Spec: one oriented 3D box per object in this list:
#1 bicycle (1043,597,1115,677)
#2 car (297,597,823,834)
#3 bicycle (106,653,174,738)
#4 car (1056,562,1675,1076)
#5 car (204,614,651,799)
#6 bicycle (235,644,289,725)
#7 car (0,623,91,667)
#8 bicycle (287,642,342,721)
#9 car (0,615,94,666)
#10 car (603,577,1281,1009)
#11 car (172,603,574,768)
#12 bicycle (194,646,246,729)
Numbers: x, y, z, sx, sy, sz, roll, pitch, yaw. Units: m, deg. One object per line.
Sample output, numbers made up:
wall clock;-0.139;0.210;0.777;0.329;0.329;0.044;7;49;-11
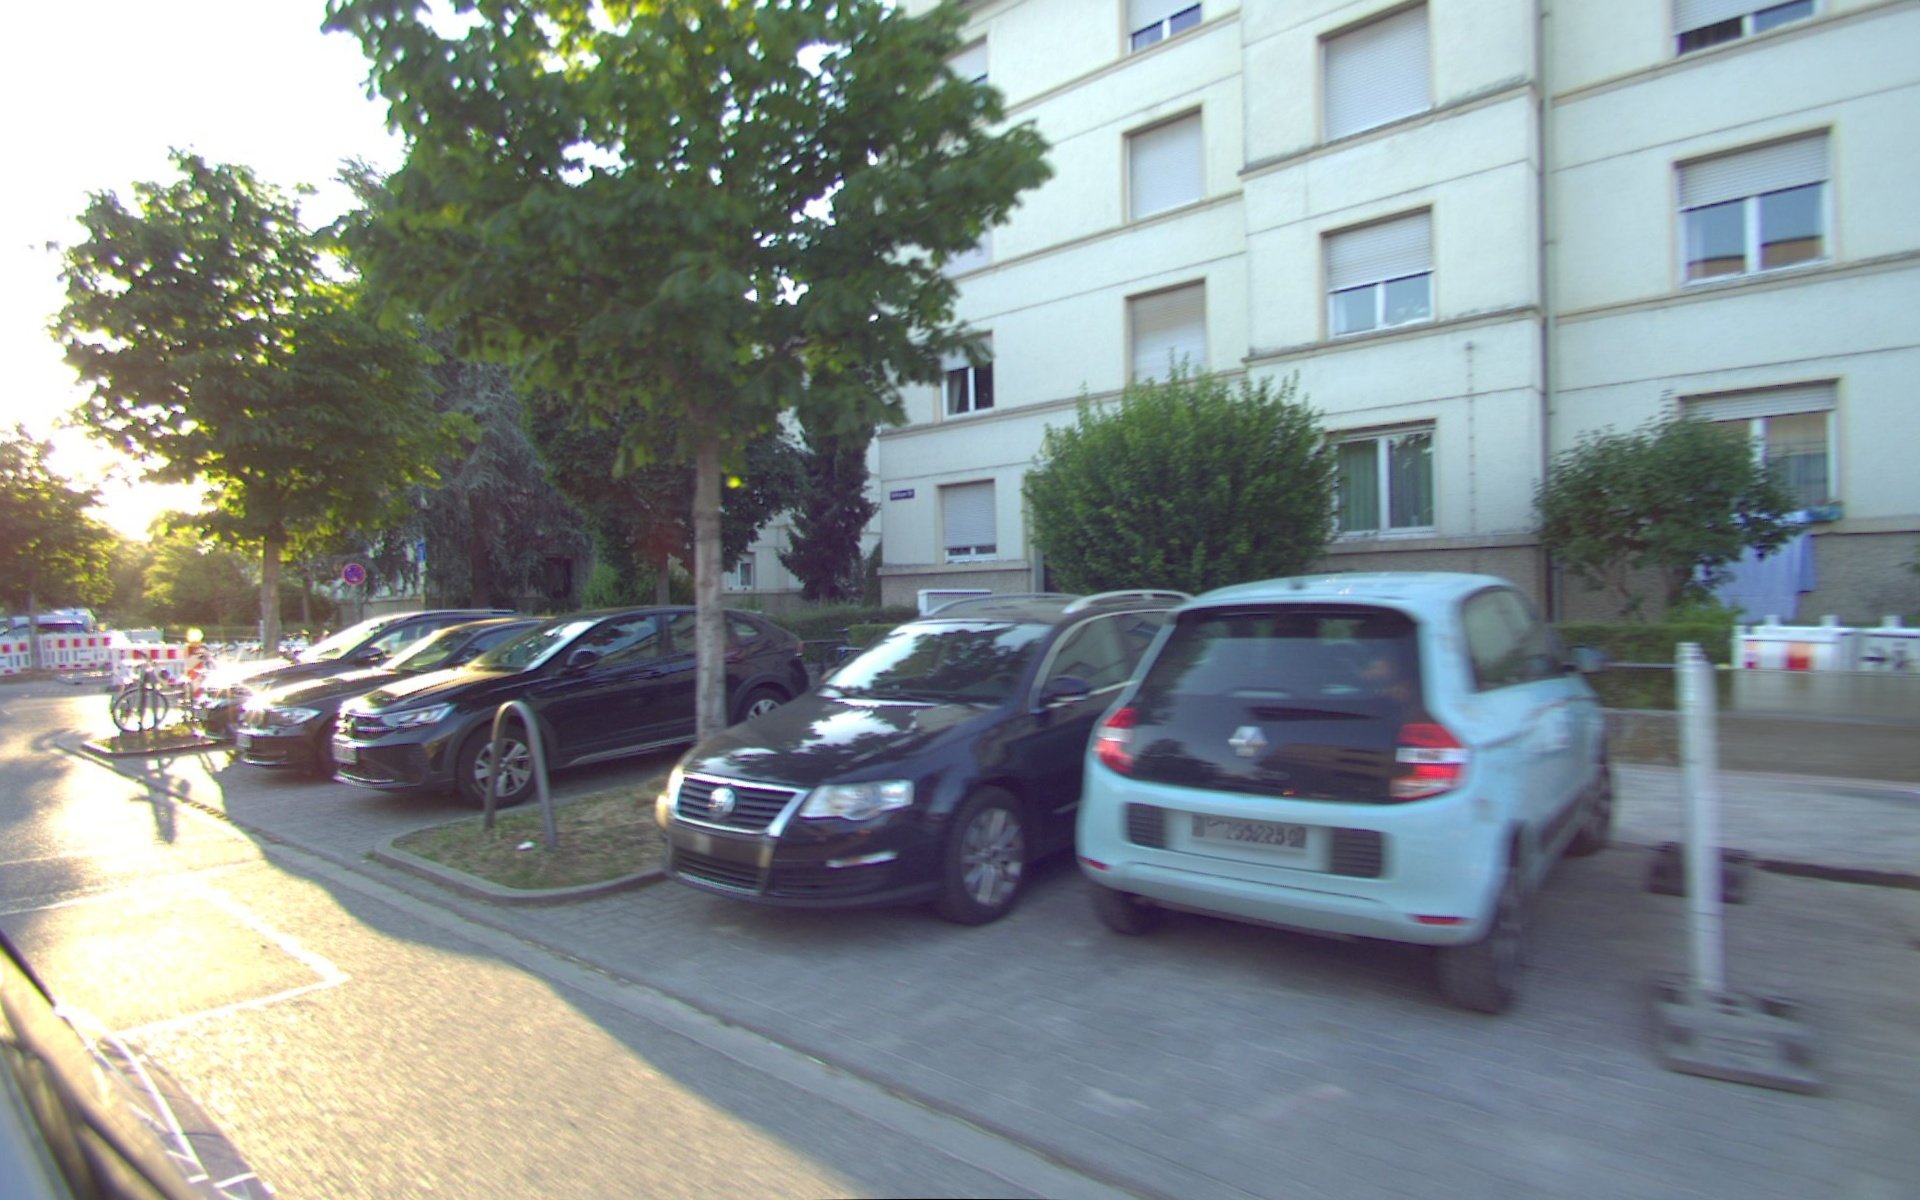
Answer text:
bicycle;2.114;0.625;17.814;0.441;1.328;1.875;-2;-1;33
car;-3.347;0.813;9.050;1.728;1.495;3.989;-2;1;42
bicycle;-11.614;1.324;14.317;1.628;1.104;0.442;-2;0;41
car;2.246;0.617;4.963;1.727;1.495;3.662;-2;1;40
car;-5.383;0.948;10.615;1.606;1.395;3.802;-2;1;41
bicycle;-10.687;1.268;15.475;1.525;1.167;0.276;-2;0;41
car;-38.767;1.867;41.922;2.001;1.696;4.074;-2;-1;45
bicycle;-10.138;1.250;15.868;1.525;1.167;0.276;-2;0;41
car;-40.583;1.754;43.686;2.001;2.085;4.720;-2;-1;45
car;0.346;0.684;6.014;1.724;1.495;4.469;-2;1;35
car;-7.107;0.914;12.549;1.728;1.553;3.944;-2;1;42
bicycle;-11.000;1.272;15.032;1.525;1.167;0.276;-2;-1;41
